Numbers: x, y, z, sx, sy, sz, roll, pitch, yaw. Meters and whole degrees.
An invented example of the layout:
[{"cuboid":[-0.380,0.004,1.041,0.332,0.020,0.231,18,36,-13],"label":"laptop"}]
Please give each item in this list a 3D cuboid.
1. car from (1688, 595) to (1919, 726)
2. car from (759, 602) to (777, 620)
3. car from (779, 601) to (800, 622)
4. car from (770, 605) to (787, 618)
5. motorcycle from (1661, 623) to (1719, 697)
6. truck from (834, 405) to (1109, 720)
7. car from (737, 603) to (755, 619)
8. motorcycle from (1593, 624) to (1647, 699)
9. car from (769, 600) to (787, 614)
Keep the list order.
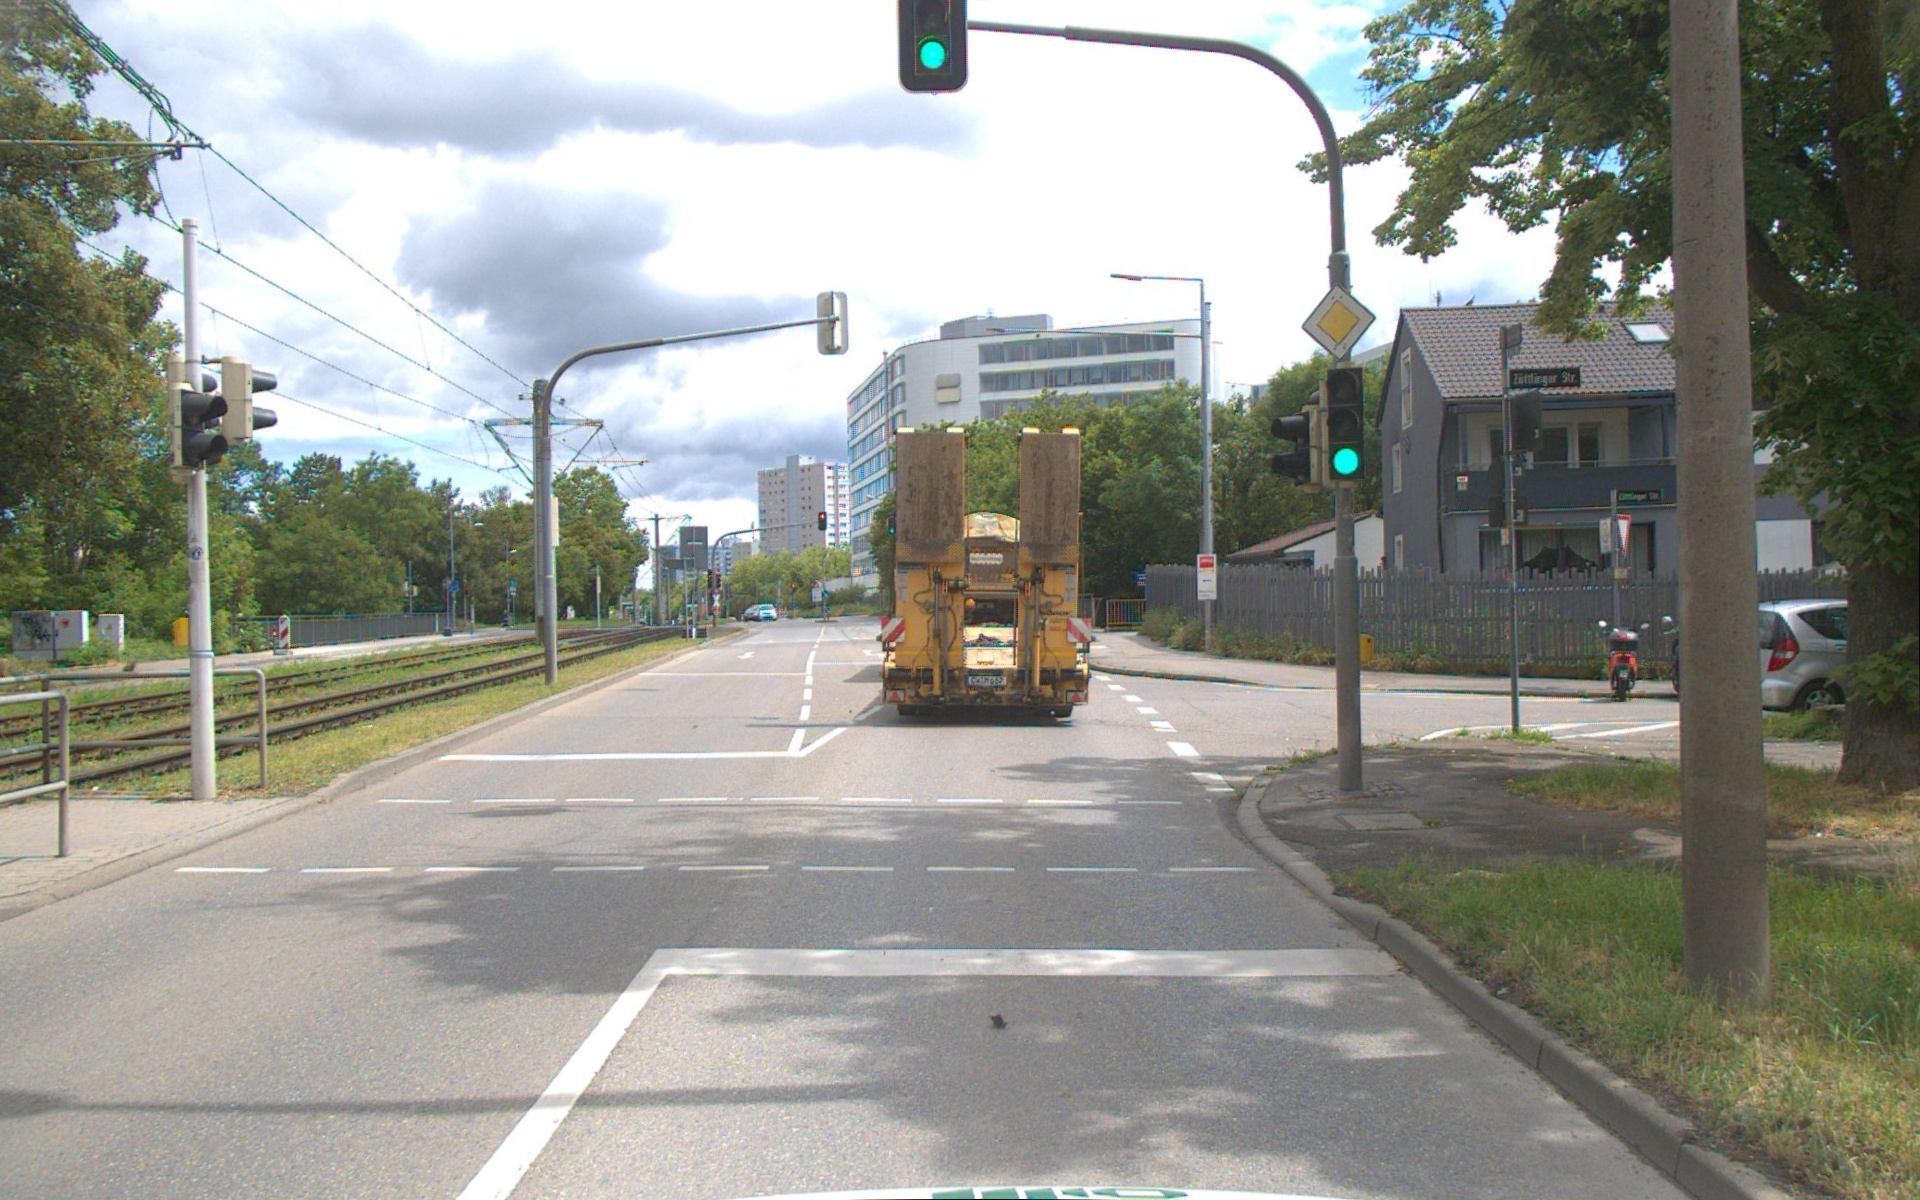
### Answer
[{"cuboid":[11.830,0.737,21.514,3.913,1.581,1.935,0,0,-9],"label":"car"},{"cuboid":[-18.111,1.045,156.094,1.562,1.553,3.650,-2,0,-6],"label":"car"},{"cuboid":[-16.530,1.098,160.391,1.956,1.959,3.993,0,0,-7],"label":"car"},{"cuboid":[-21.179,1.314,193.112,1.956,1.445,3.993,0,0,-7],"label":"car"},{"cuboid":[12.074,0.970,27.394,0.645,1.169,1.994,0,-1,17],"label":"motorcycle"},{"cuboid":[-0.074,-0.399,25.839,3.249,3.715,12.556,0,0,-2],"label":"truck"},{"cuboid":[-21.873,1.135,168.829,1.750,1.597,4.337,-2,0,-8],"label":"car"},{"cuboid":[10.870,0.985,27.298,0.645,1.169,2.426,0,-1,18],"label":"motorcycle"},{"cuboid":[-20.166,0.777,183.184,1.956,1.445,3.993,0,0,-7],"label":"car"}]
